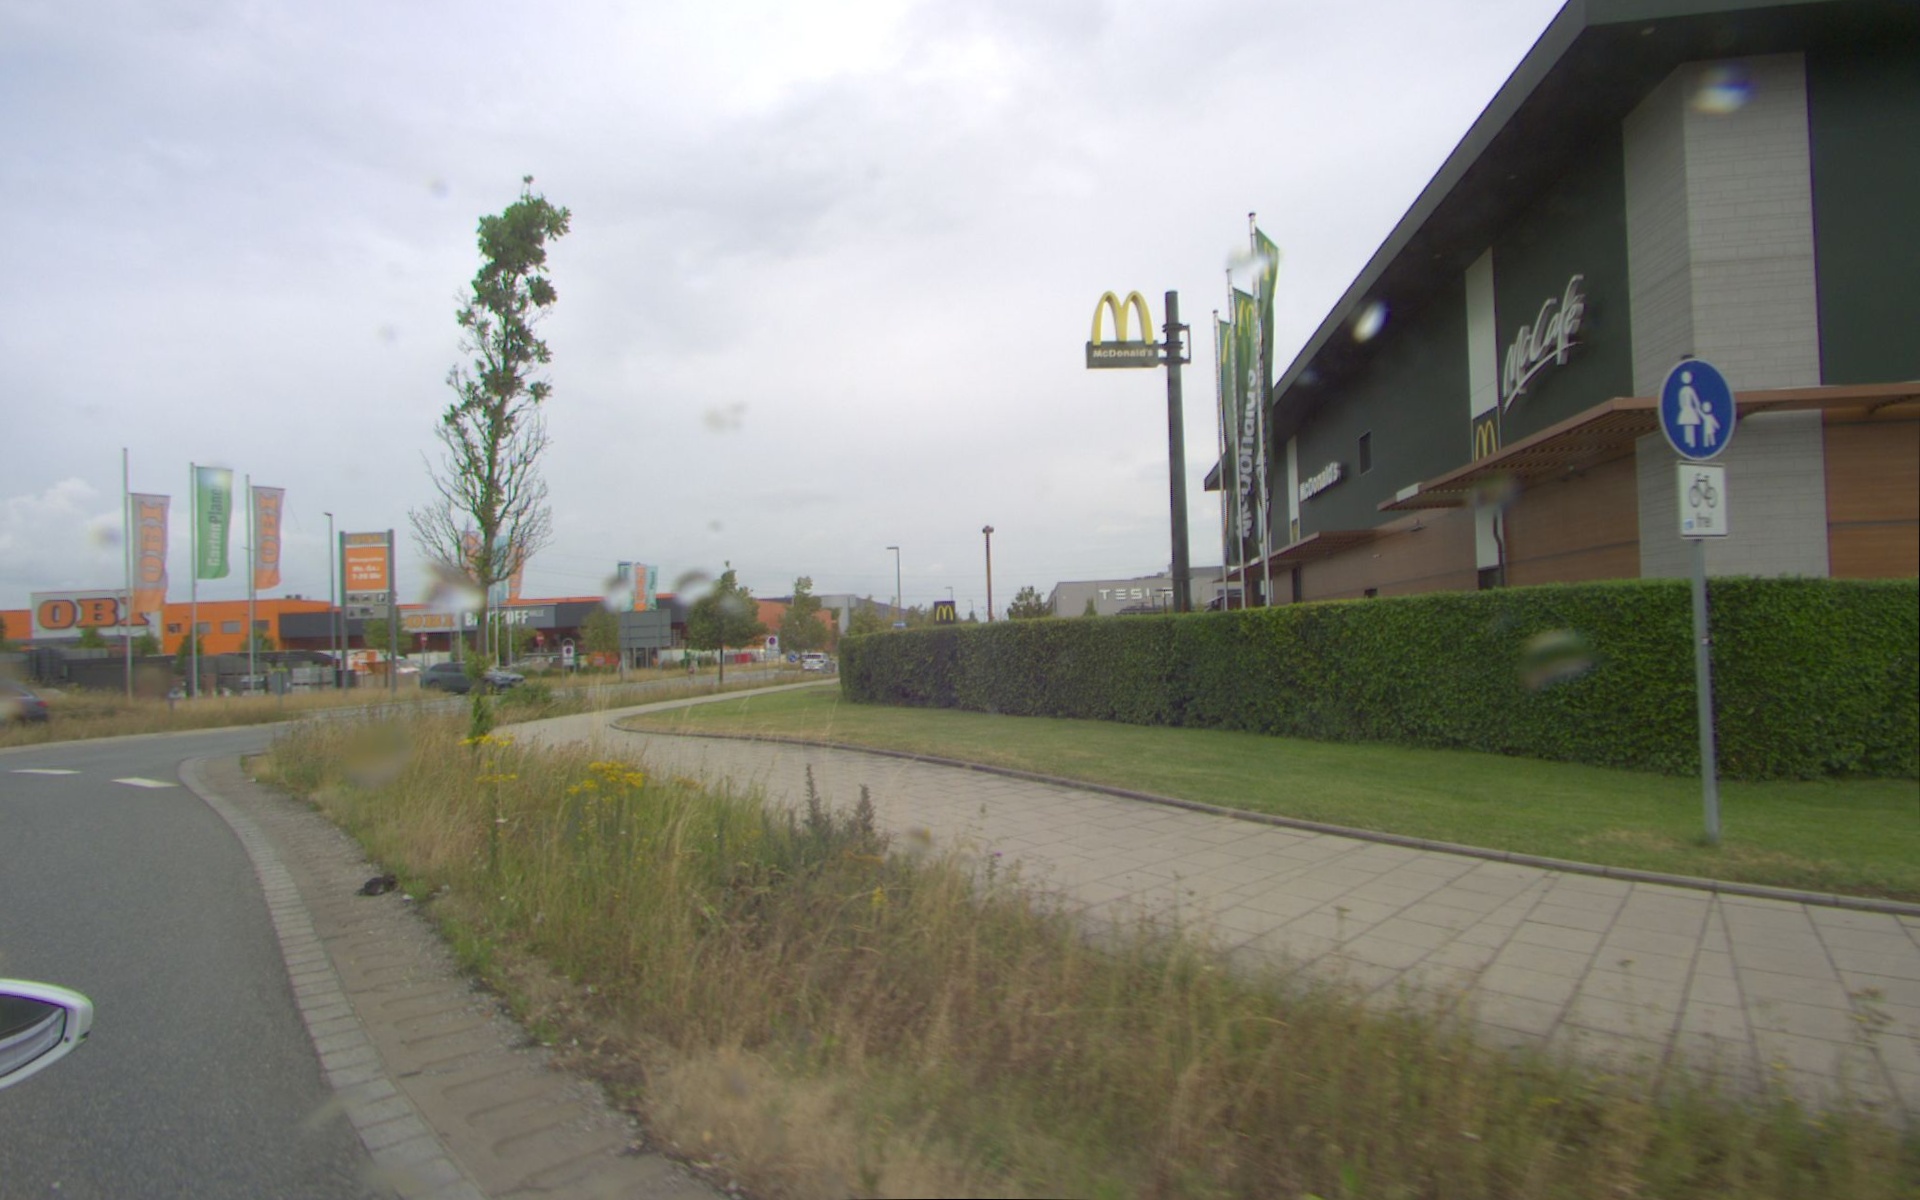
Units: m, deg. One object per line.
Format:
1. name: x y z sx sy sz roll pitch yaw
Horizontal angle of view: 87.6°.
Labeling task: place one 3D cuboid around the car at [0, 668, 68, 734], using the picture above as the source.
1. car: -22.002 2.162 20.986 1.893 1.420 4.688 -2 -4 13

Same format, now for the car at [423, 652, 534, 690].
1. car: -22.753 3.367 47.387 4.600 1.525 1.998 -4 -4 17

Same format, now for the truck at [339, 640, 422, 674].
1. truck: -48.711 4.839 84.254 5.443 2.513 2.443 -3 -3 -1

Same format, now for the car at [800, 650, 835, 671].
1. car: -10.195 4.322 71.872 1.778 1.482 4.003 1 -2 3
